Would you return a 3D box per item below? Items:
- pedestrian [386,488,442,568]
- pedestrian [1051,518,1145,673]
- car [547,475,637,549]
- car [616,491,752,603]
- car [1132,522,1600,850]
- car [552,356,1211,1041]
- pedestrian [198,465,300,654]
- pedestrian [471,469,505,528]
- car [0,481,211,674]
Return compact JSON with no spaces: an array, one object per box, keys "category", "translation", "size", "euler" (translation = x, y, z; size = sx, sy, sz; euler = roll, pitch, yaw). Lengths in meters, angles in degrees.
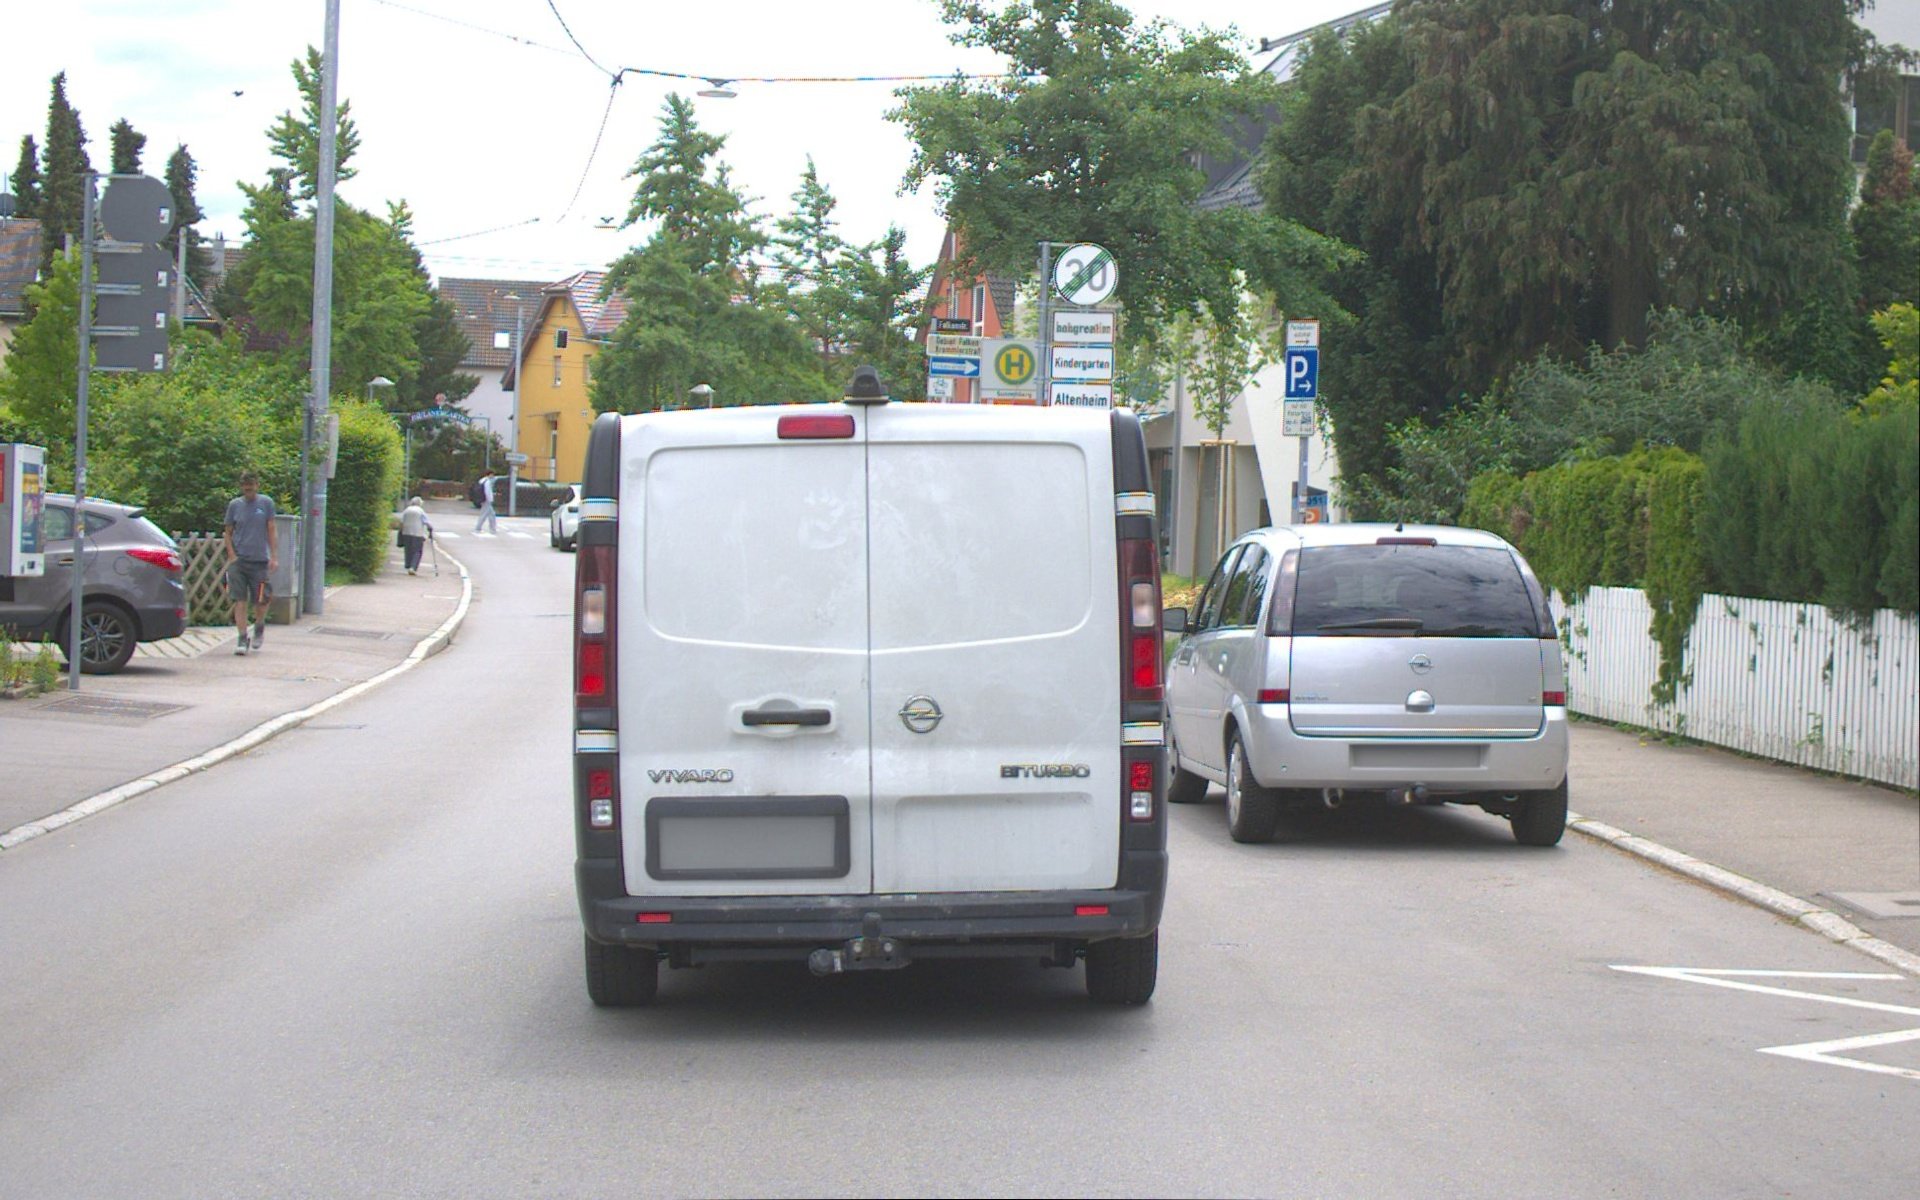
[{"category":"pedestrian","translation":[-10.538,-1.391,66.363],"size":[0.876,1.480,0.455],"euler":[3,1,-29]},{"category":"pedestrian","translation":[1.513,-0.058,37.799],"size":[0.854,1.639,0.884],"euler":[4,1,-3]},{"category":"car","translation":[-9.142,-2.184,85.287],"size":[1.993,1.776,4.001],"euler":[0,1,-9]},{"category":"car","translation":[-4.793,-0.932,59.186],"size":[1.993,1.842,4.001],"euler":[1,1,-9]},{"category":"car","translation":[2.067,0.375,18.609],"size":[1.759,1.577,4.019],"euler":[0,1,-4]},{"category":"car","translation":[-0.428,0.259,12.362],"size":[1.915,1.996,4.439],"euler":[1,1,-5]},{"category":"pedestrian","translation":[-7.579,-0.438,36.687],"size":[0.733,1.939,1.217],"euler":[4,1,-1]},{"category":"pedestrian","translation":[-13.369,-2.878,97.384],"size":[0.804,1.604,0.628],"euler":[4,1,-14]},{"category":"car","translation":[-9.442,-0.306,32.774],"size":[4.310,1.690,1.798],"euler":[4,1,-15]}]
